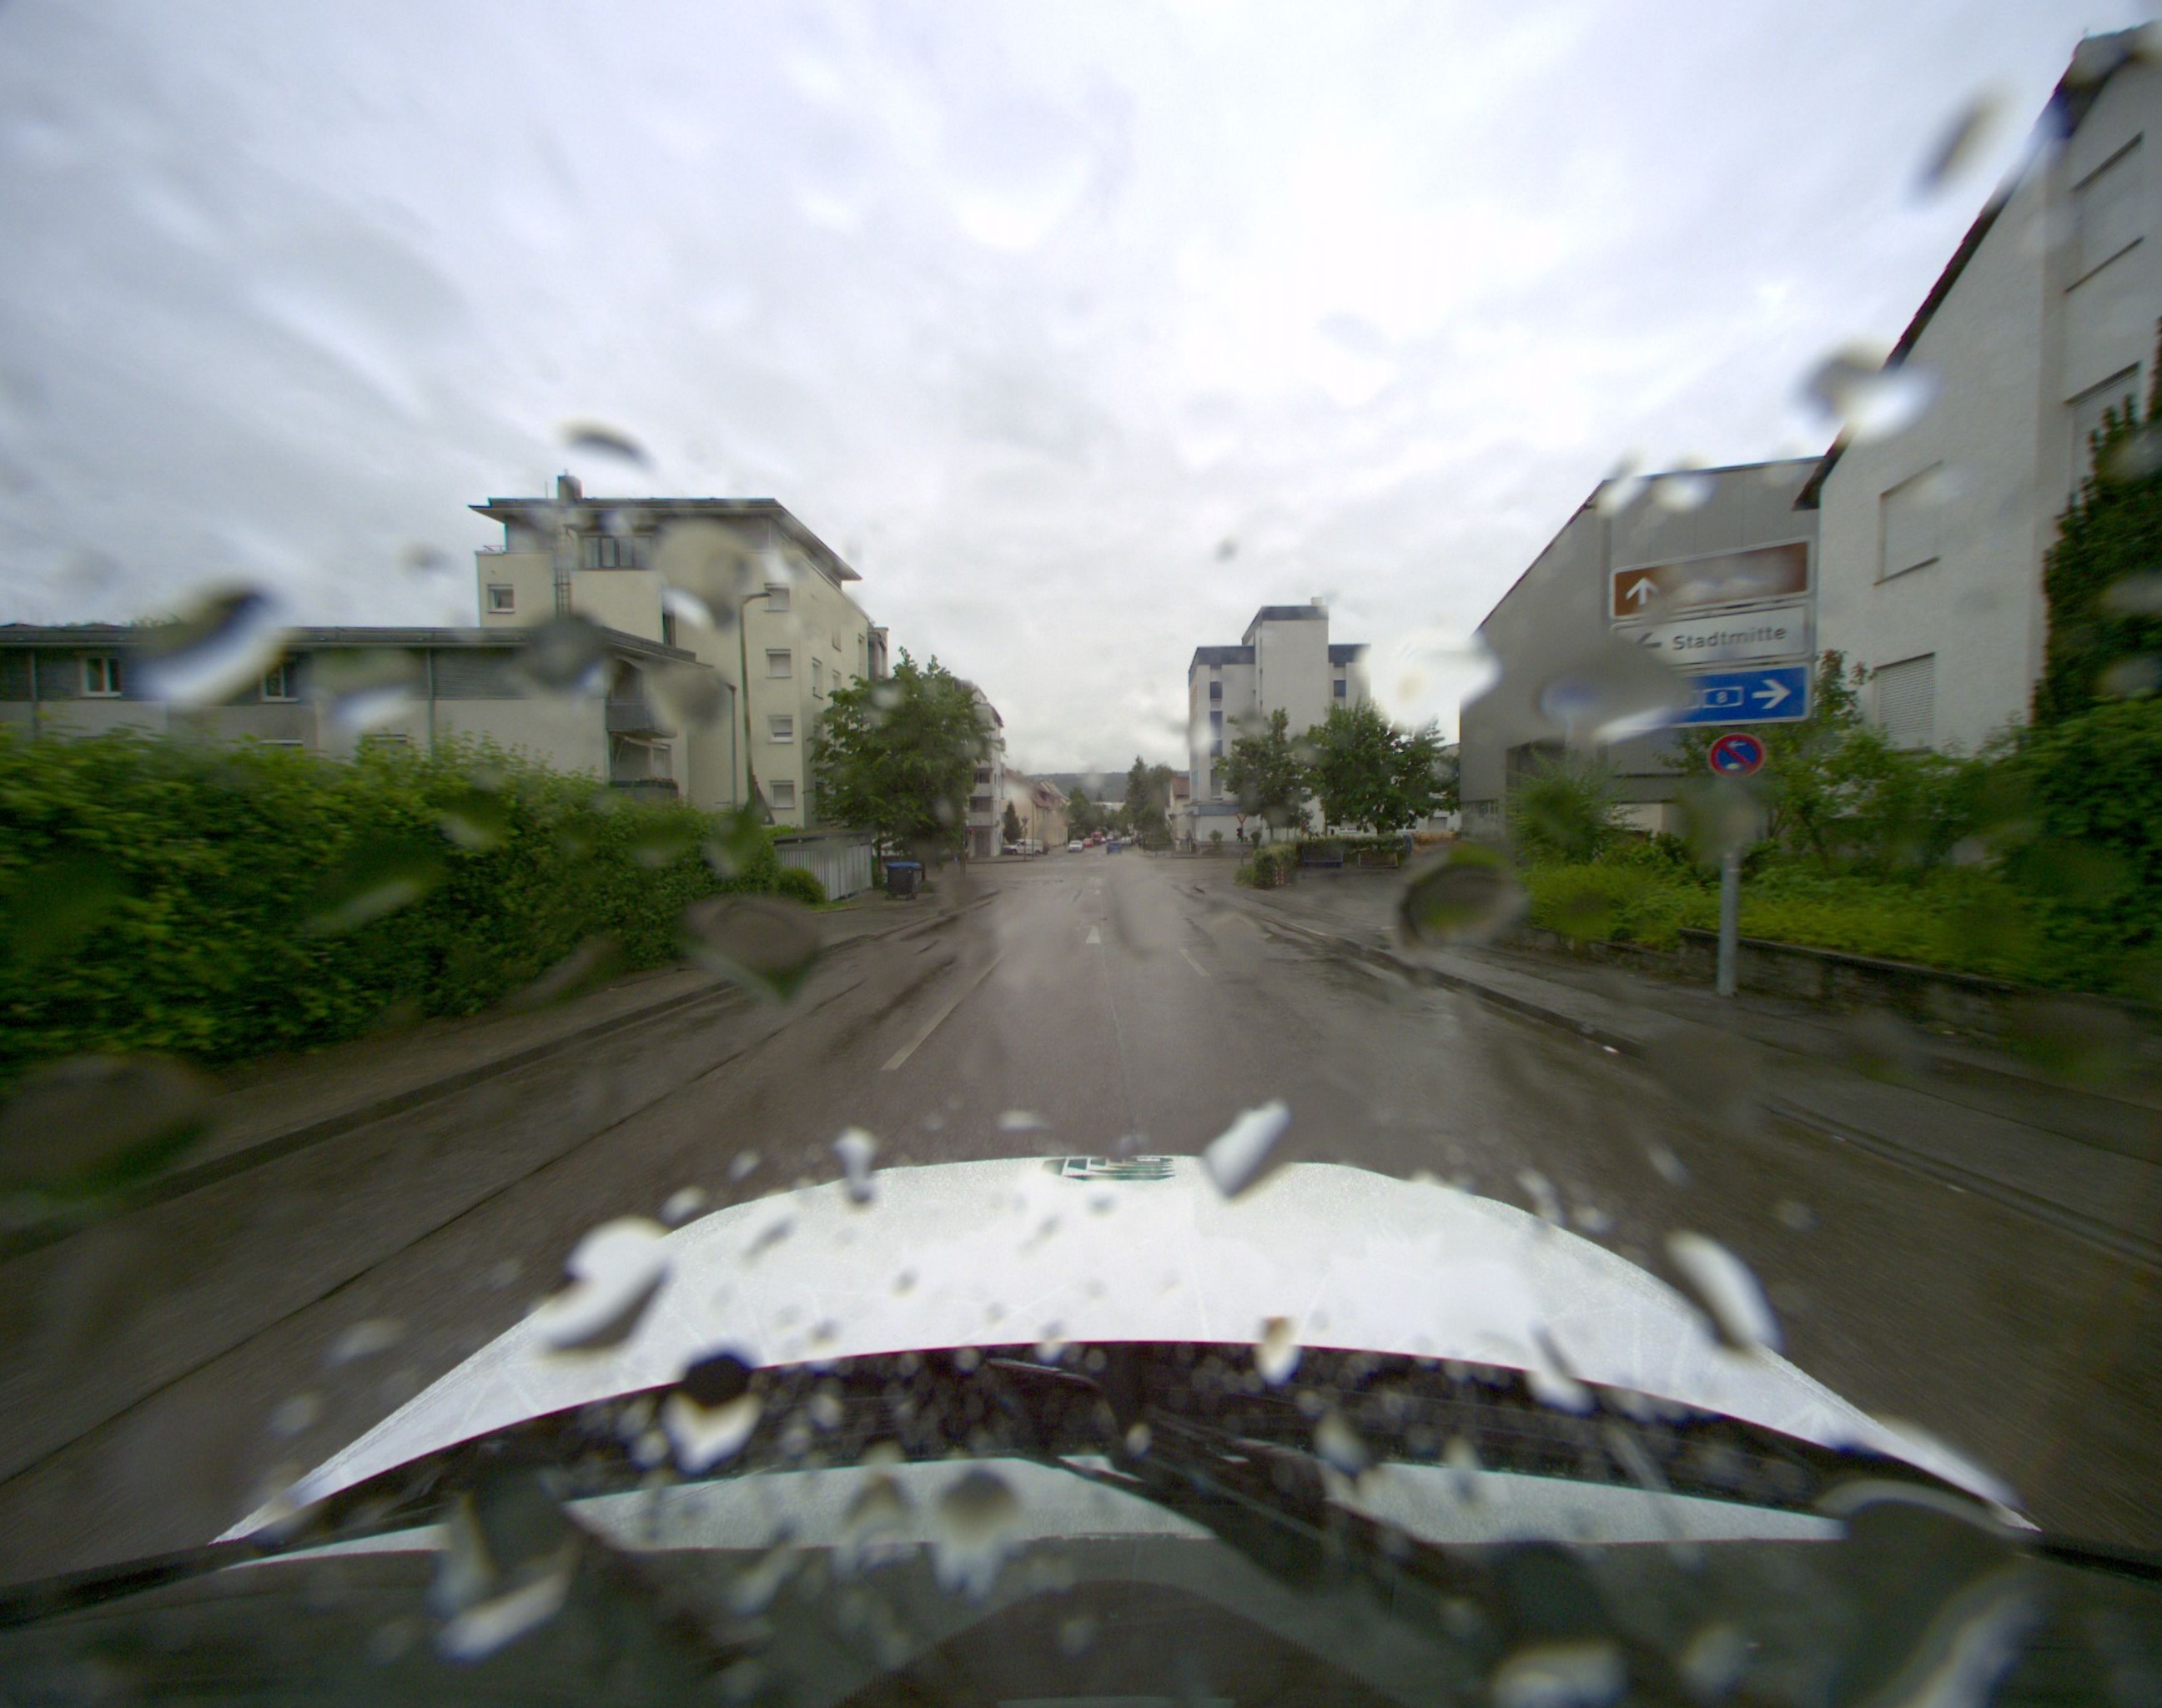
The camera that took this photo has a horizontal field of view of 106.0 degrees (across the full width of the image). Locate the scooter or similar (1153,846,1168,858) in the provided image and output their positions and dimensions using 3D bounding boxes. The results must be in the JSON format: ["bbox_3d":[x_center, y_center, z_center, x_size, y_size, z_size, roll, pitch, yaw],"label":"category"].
[{"bbox_3d":[7.784,-0.184,79.685,1.265,1.081,0.876,-2,1,-3],"label":"scooter or similar"}]

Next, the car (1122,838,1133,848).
[{"bbox_3d":[8.265,-1.932,144.702,1.894,1.745,4.195,-2,1,3],"label":"car"}]

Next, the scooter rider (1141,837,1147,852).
[{"bbox_3d":[8.008,-1.191,103.604,0.748,1.795,0.674,-2,1,4],"label":"scooter rider"}]

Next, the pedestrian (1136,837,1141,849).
[{"bbox_3d":[8.767,-1.676,123.754,0.743,1.848,0.526,2,0,-1],"label":"pedestrian"}]

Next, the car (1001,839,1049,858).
[{"bbox_3d":[-6.122,-0.630,89.254,4.866,1.835,1.978,-3,1,-36],"label":"car"}]

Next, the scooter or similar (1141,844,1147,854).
[{"bbox_3d":[8.045,-0.647,103.650,0.753,1.171,1.316,-2,1,4],"label":"scooter or similar"}]

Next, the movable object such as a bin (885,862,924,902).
[{"bbox_3d":[-6.271,0.976,29.006,1.068,1.347,1.318,1,0,0],"label":"movable object such as a bin"}]

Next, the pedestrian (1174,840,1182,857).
[{"bbox_3d":[9.612,-0.540,80.849,0.646,1.647,0.525,2,0,-5],"label":"pedestrian"}]

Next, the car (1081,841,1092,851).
[{"bbox_3d":[0.998,-1.455,145.699,1.894,1.558,4.195,-2,1,3],"label":"car"}]

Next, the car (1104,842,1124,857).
[{"bbox_3d":[3.883,-0.572,97.296,1.989,1.683,3.997,-2,1,-3],"label":"car"}]

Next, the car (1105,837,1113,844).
[{"bbox_3d":[6.780,-3.225,195.840,1.894,1.558,4.195,-2,1,3],"label":"car"}]

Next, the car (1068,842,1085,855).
[{"bbox_3d":[-0.622,-0.739,109.248,1.985,1.625,4.195,-2,1,3],"label":"car"}]

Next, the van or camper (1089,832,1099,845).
[{"bbox_3d":[2.773,-3.250,168.268,1.894,2.513,4.242,-2,1,3],"label":"van or camper"}]

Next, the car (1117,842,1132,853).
[{"bbox_3d":[6.524,-1.028,122.775,2.137,1.589,4.131,-2,1,3],"label":"car"}]
